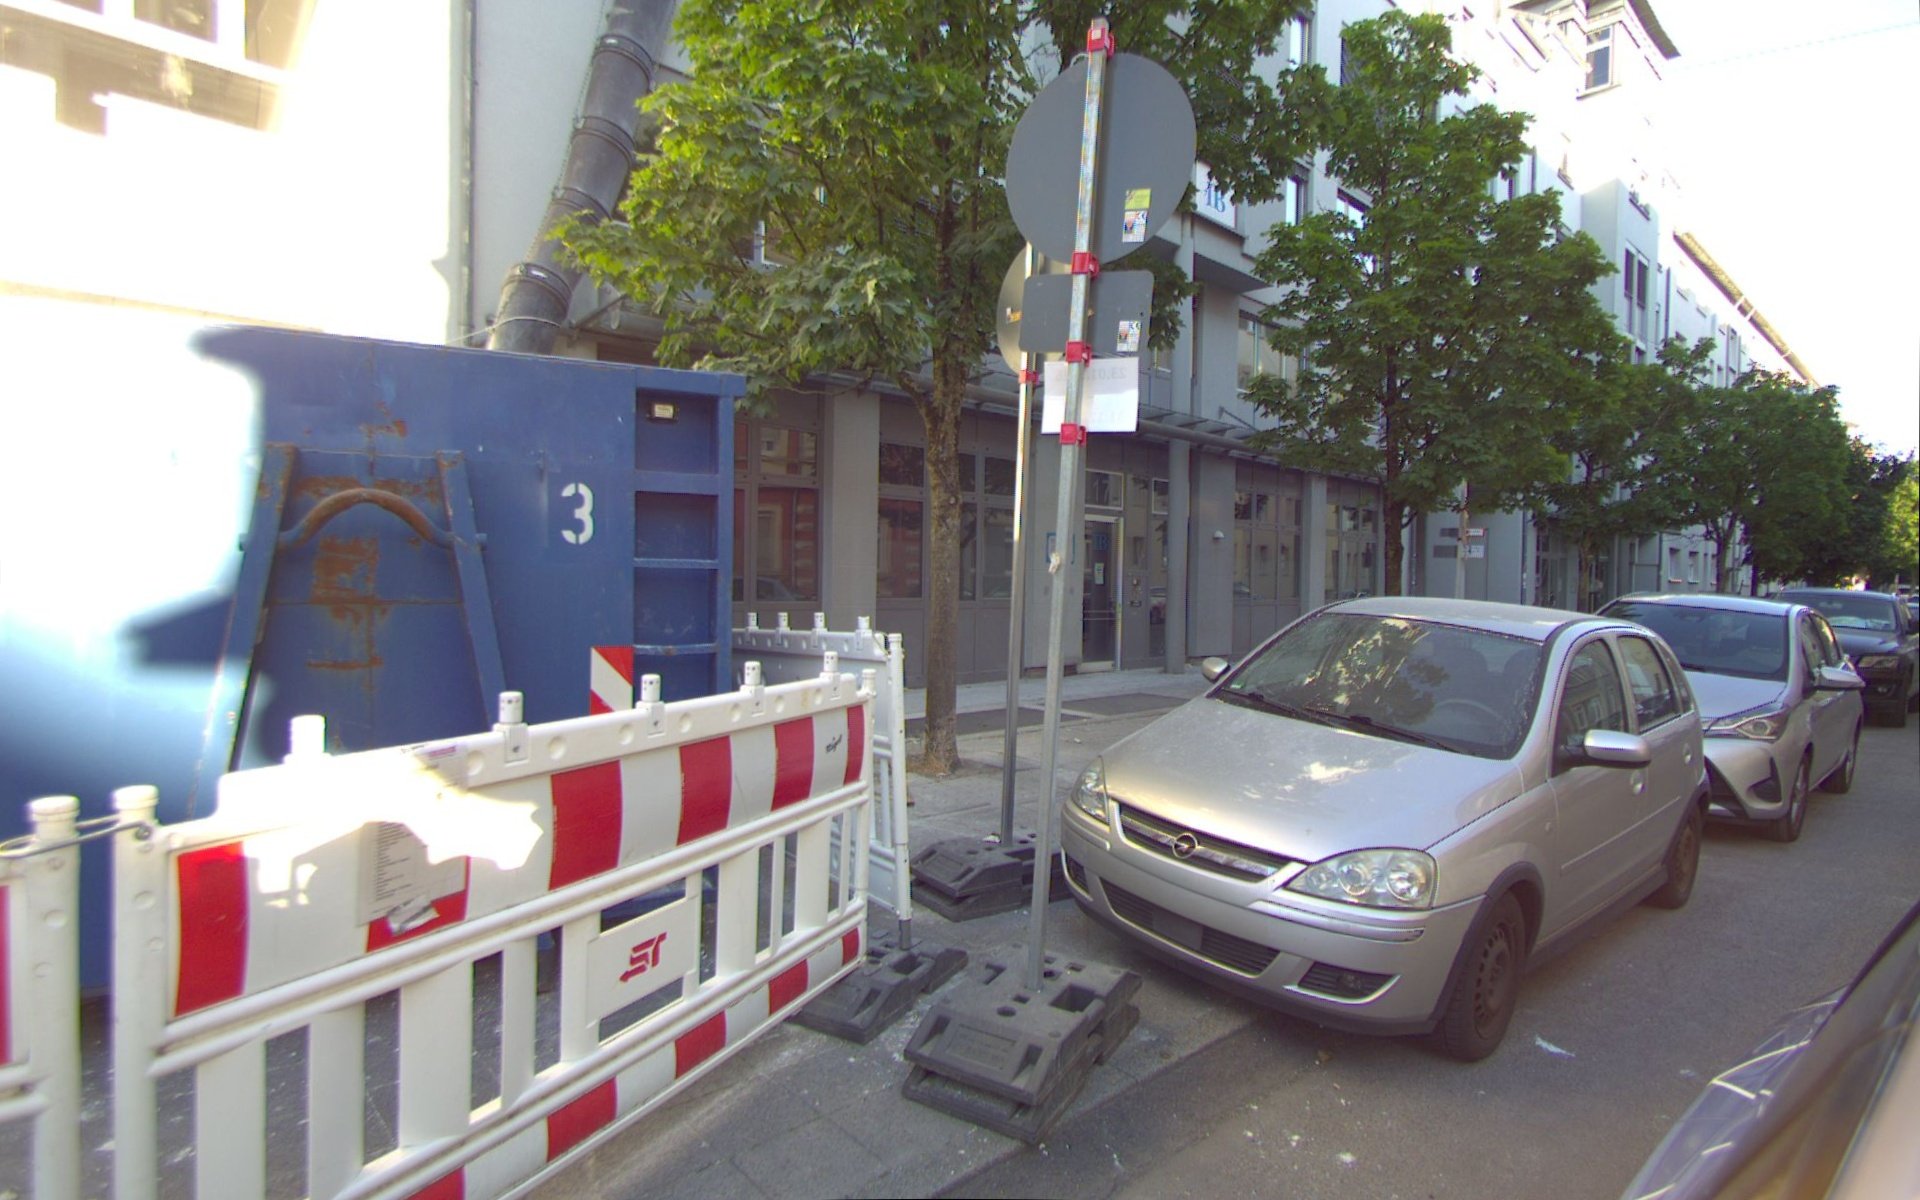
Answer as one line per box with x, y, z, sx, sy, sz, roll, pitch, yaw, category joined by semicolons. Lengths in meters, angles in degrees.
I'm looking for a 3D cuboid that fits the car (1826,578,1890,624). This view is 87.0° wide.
41.908;0.018;47.210;3.935;2.039;1.995;0;1;-45;car

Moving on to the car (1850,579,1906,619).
48.684;-0.080;53.643;3.935;2.039;1.995;0;1;-45;car

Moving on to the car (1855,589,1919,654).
23.442;0.487;24.909;3.935;1.507;1.852;0;1;-45;car

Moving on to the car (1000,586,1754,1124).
2.198;0.681;4.712;3.995;1.465;1.637;0;1;-41;car

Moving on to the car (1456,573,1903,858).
5.623;0.626;7.732;3.930;1.605;1.911;0;1;-41;car

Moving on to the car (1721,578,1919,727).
11.997;0.577;13.751;4.315;1.710;1.861;0;1;-42;car

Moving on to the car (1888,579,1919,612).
61.153;-0.307;65.089;3.935;2.039;1.995;0;1;-45;car

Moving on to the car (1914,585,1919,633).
35.254;0.322;36.009;1.851;1.680;3.936;1;1;44;car

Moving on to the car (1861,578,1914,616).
51.930;-0.175;56.636;3.935;2.039;1.995;0;1;-45;car
